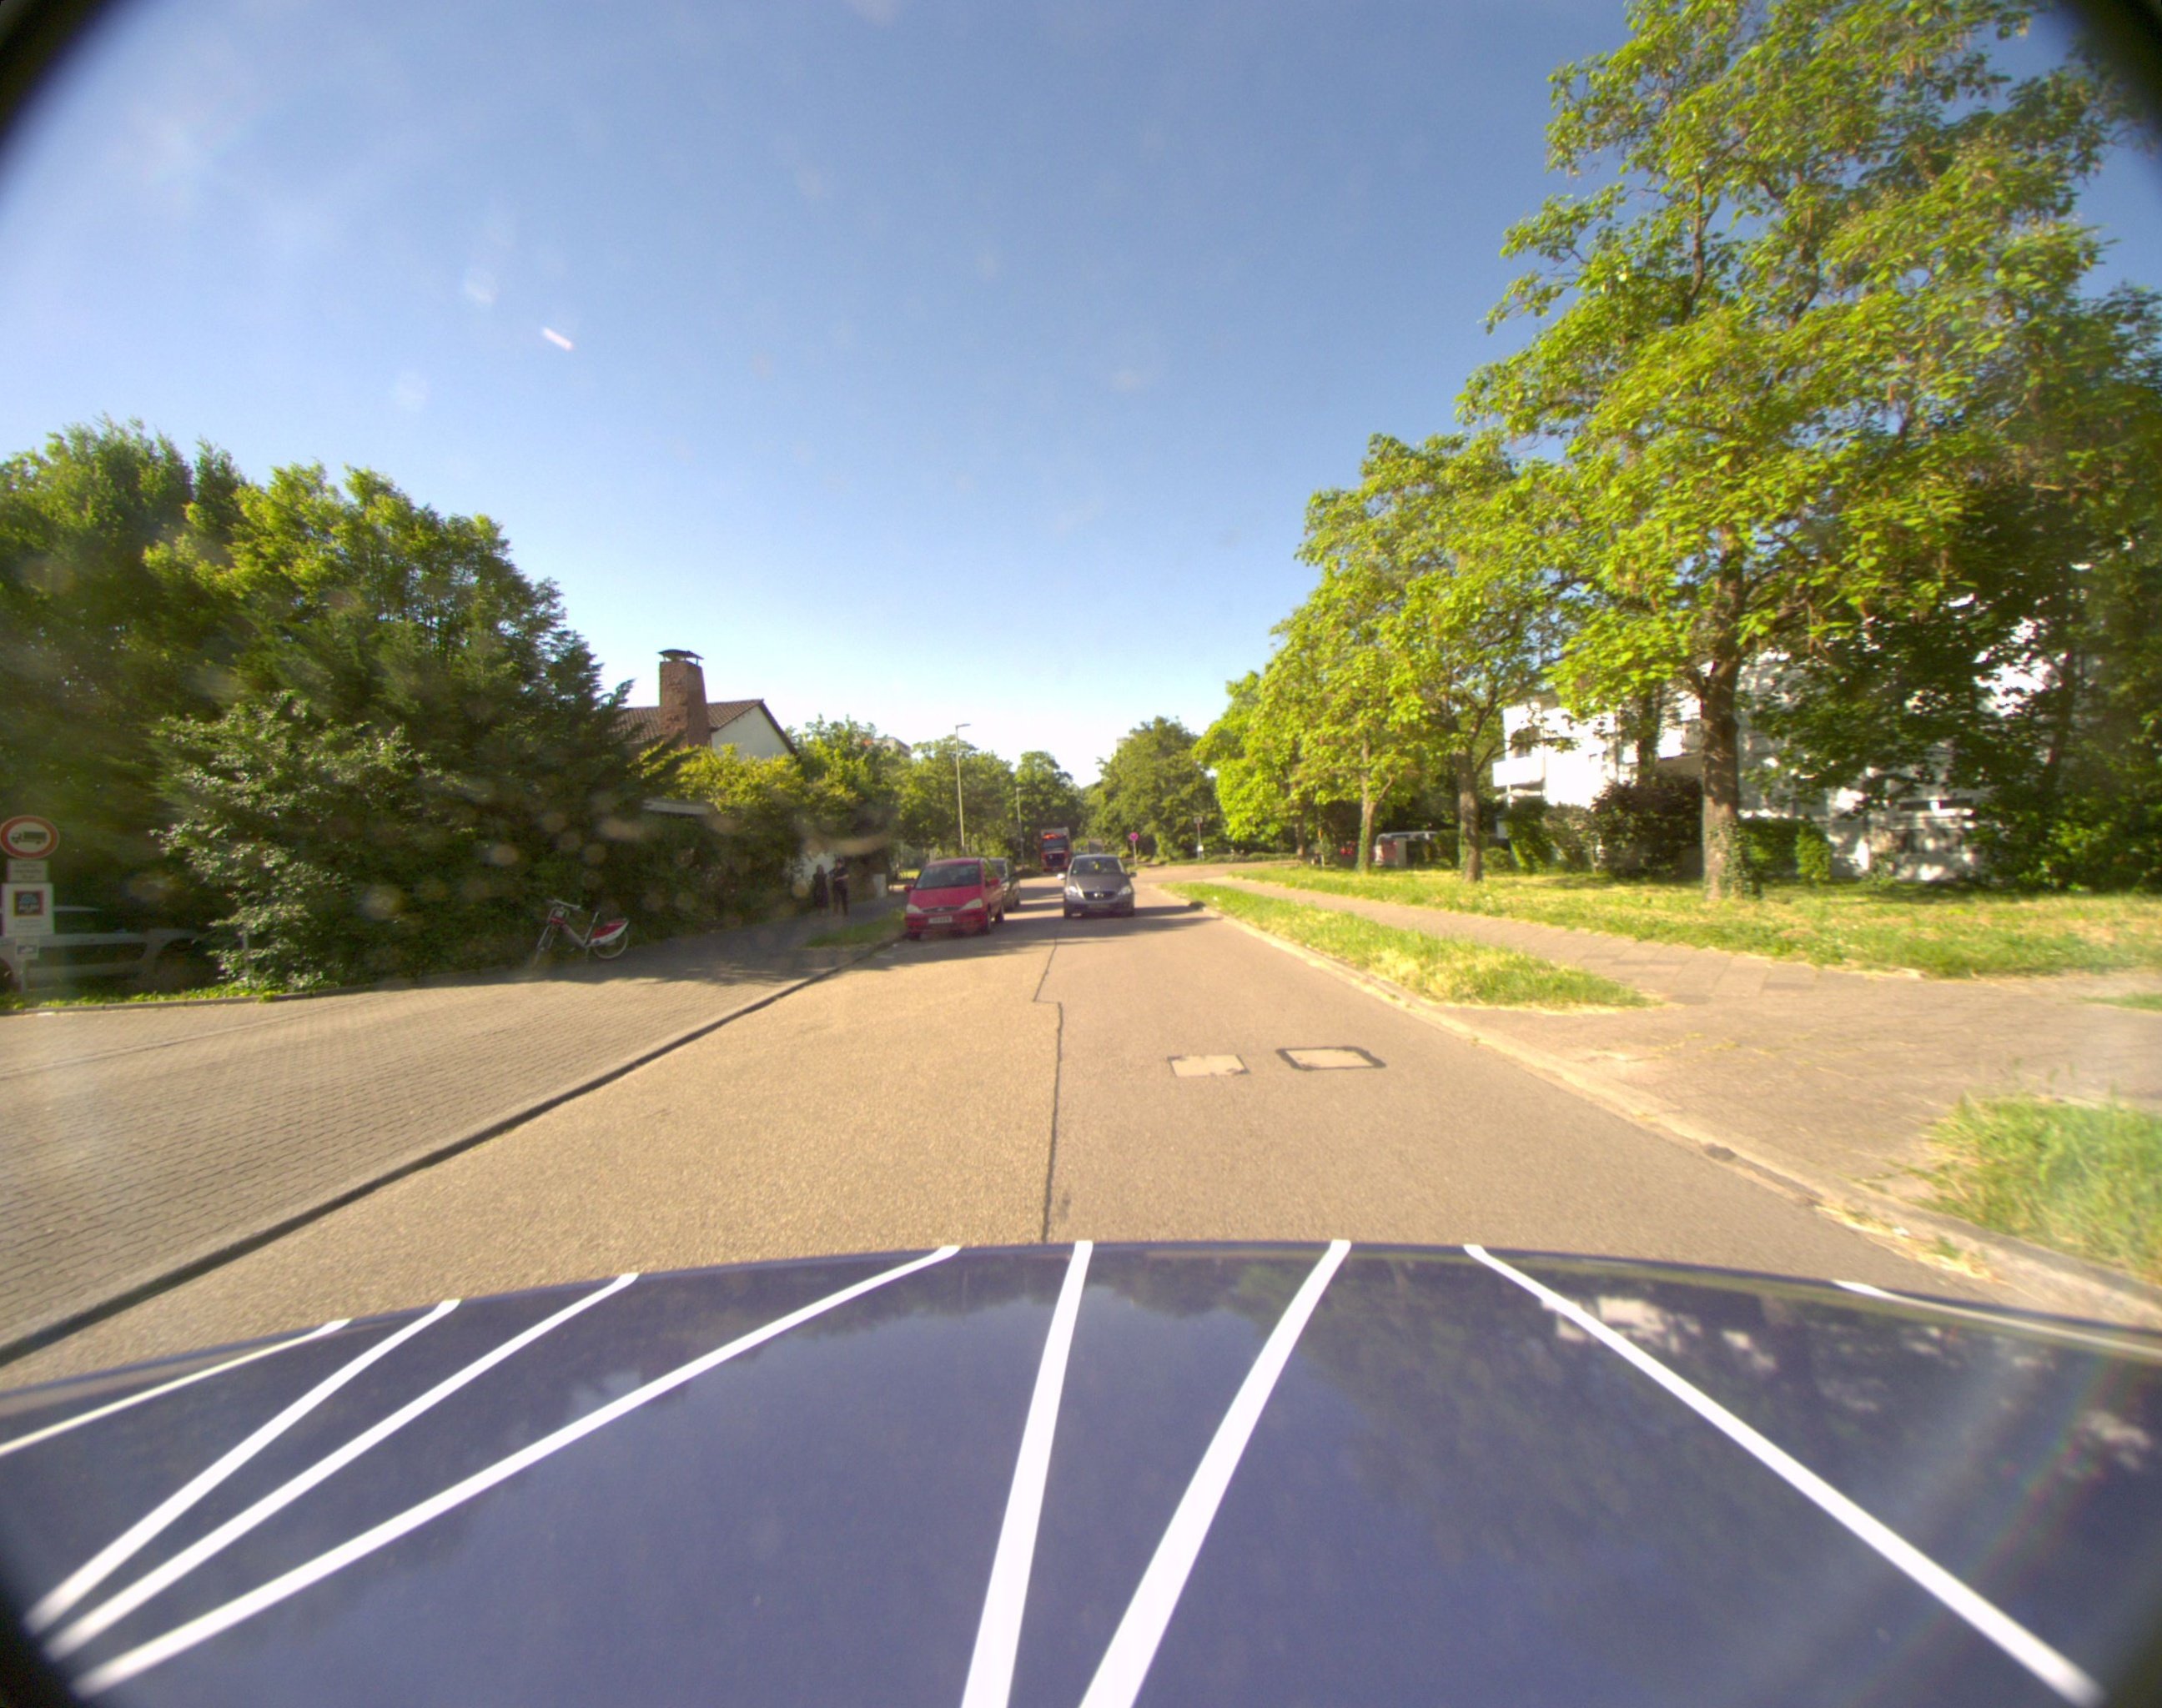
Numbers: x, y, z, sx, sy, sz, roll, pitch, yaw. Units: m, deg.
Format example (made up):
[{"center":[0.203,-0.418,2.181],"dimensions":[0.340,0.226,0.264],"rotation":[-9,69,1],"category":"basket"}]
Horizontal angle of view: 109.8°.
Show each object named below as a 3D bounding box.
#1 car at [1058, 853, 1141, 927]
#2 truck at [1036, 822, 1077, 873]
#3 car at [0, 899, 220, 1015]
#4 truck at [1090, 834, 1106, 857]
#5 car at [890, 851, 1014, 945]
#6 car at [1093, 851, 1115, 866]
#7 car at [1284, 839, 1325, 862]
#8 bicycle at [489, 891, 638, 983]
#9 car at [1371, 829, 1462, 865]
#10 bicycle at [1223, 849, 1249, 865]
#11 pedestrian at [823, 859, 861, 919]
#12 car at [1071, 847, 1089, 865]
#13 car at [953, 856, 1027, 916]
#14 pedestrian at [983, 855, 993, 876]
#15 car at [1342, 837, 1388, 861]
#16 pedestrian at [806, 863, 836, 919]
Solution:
[{"center":[0.429,0.830,19.551],"dimensions":[1.855,1.635,3.755],"rotation":[-3,0,0],"category":"car"},{"center":[-2.230,-0.645,72.787],"dimensions":[3.166,4.320,10.582],"rotation":[-3,1,1],"category":"truck"},{"center":[-16.481,1.612,11.804],"dimensions":[1.777,1.494,3.802],"rotation":[-3,0,1],"category":"car"},{"center":[3.038,-1.649,137.257],"dimensions":[2.803,3.996,9.623],"rotation":[-1,2,1],"category":"truck"},{"center":[-2.790,0.878,17.514],"dimensions":[1.844,1.795,4.653],"rotation":[-3,0,1],"category":"car"},{"center":[2.480,0.494,82.659],"dimensions":[1.667,1.458,4.184],"rotation":[-2,2,-9],"category":"car"},{"center":[15.822,-0.190,53.946],"dimensions":[1.674,1.478,3.886],"rotation":[-3,-1,0],"category":"car"},{"center":[-8.270,1.287,12.264],"dimensions":[0.721,1.214,1.898],"rotation":[-1,2,17],"category":"bicycle"},{"center":[19.863,-0.396,45.163],"dimensions":[4.461,1.957,2.069],"rotation":[-2,0,3],"category":"car"},{"center":[11.996,0.243,58.940],"dimensions":[1.902,1.146,0.760],"rotation":[-3,4,11],"category":"bicycle"},{"center":[-7.142,1.021,22.784],"dimensions":[0.806,1.707,0.983],"rotation":[-1,2,-3],"category":"pedestrian"},{"center":[-0.118,0.237,82.765],"dimensions":[1.845,1.795,4.028],"rotation":[-3,1,-1],"category":"car"},{"center":[-2.822,0.943,24.453],"dimensions":[1.729,1.647,4.352],"rotation":[-3,0,0],"category":"car"},{"center":[-7.593,0.949,62.298],"dimensions":[0.641,1.629,0.641],"rotation":[-3,1,3],"category":"pedestrian"},{"center":[20.014,-0.325,53.688],"dimensions":[1.674,1.478,3.886],"rotation":[-3,-1,0],"category":"car"},{"center":[-7.759,1.079,22.700],"dimensions":[0.574,1.600,0.792],"rotation":[-1,2,-3],"category":"pedestrian"}]
